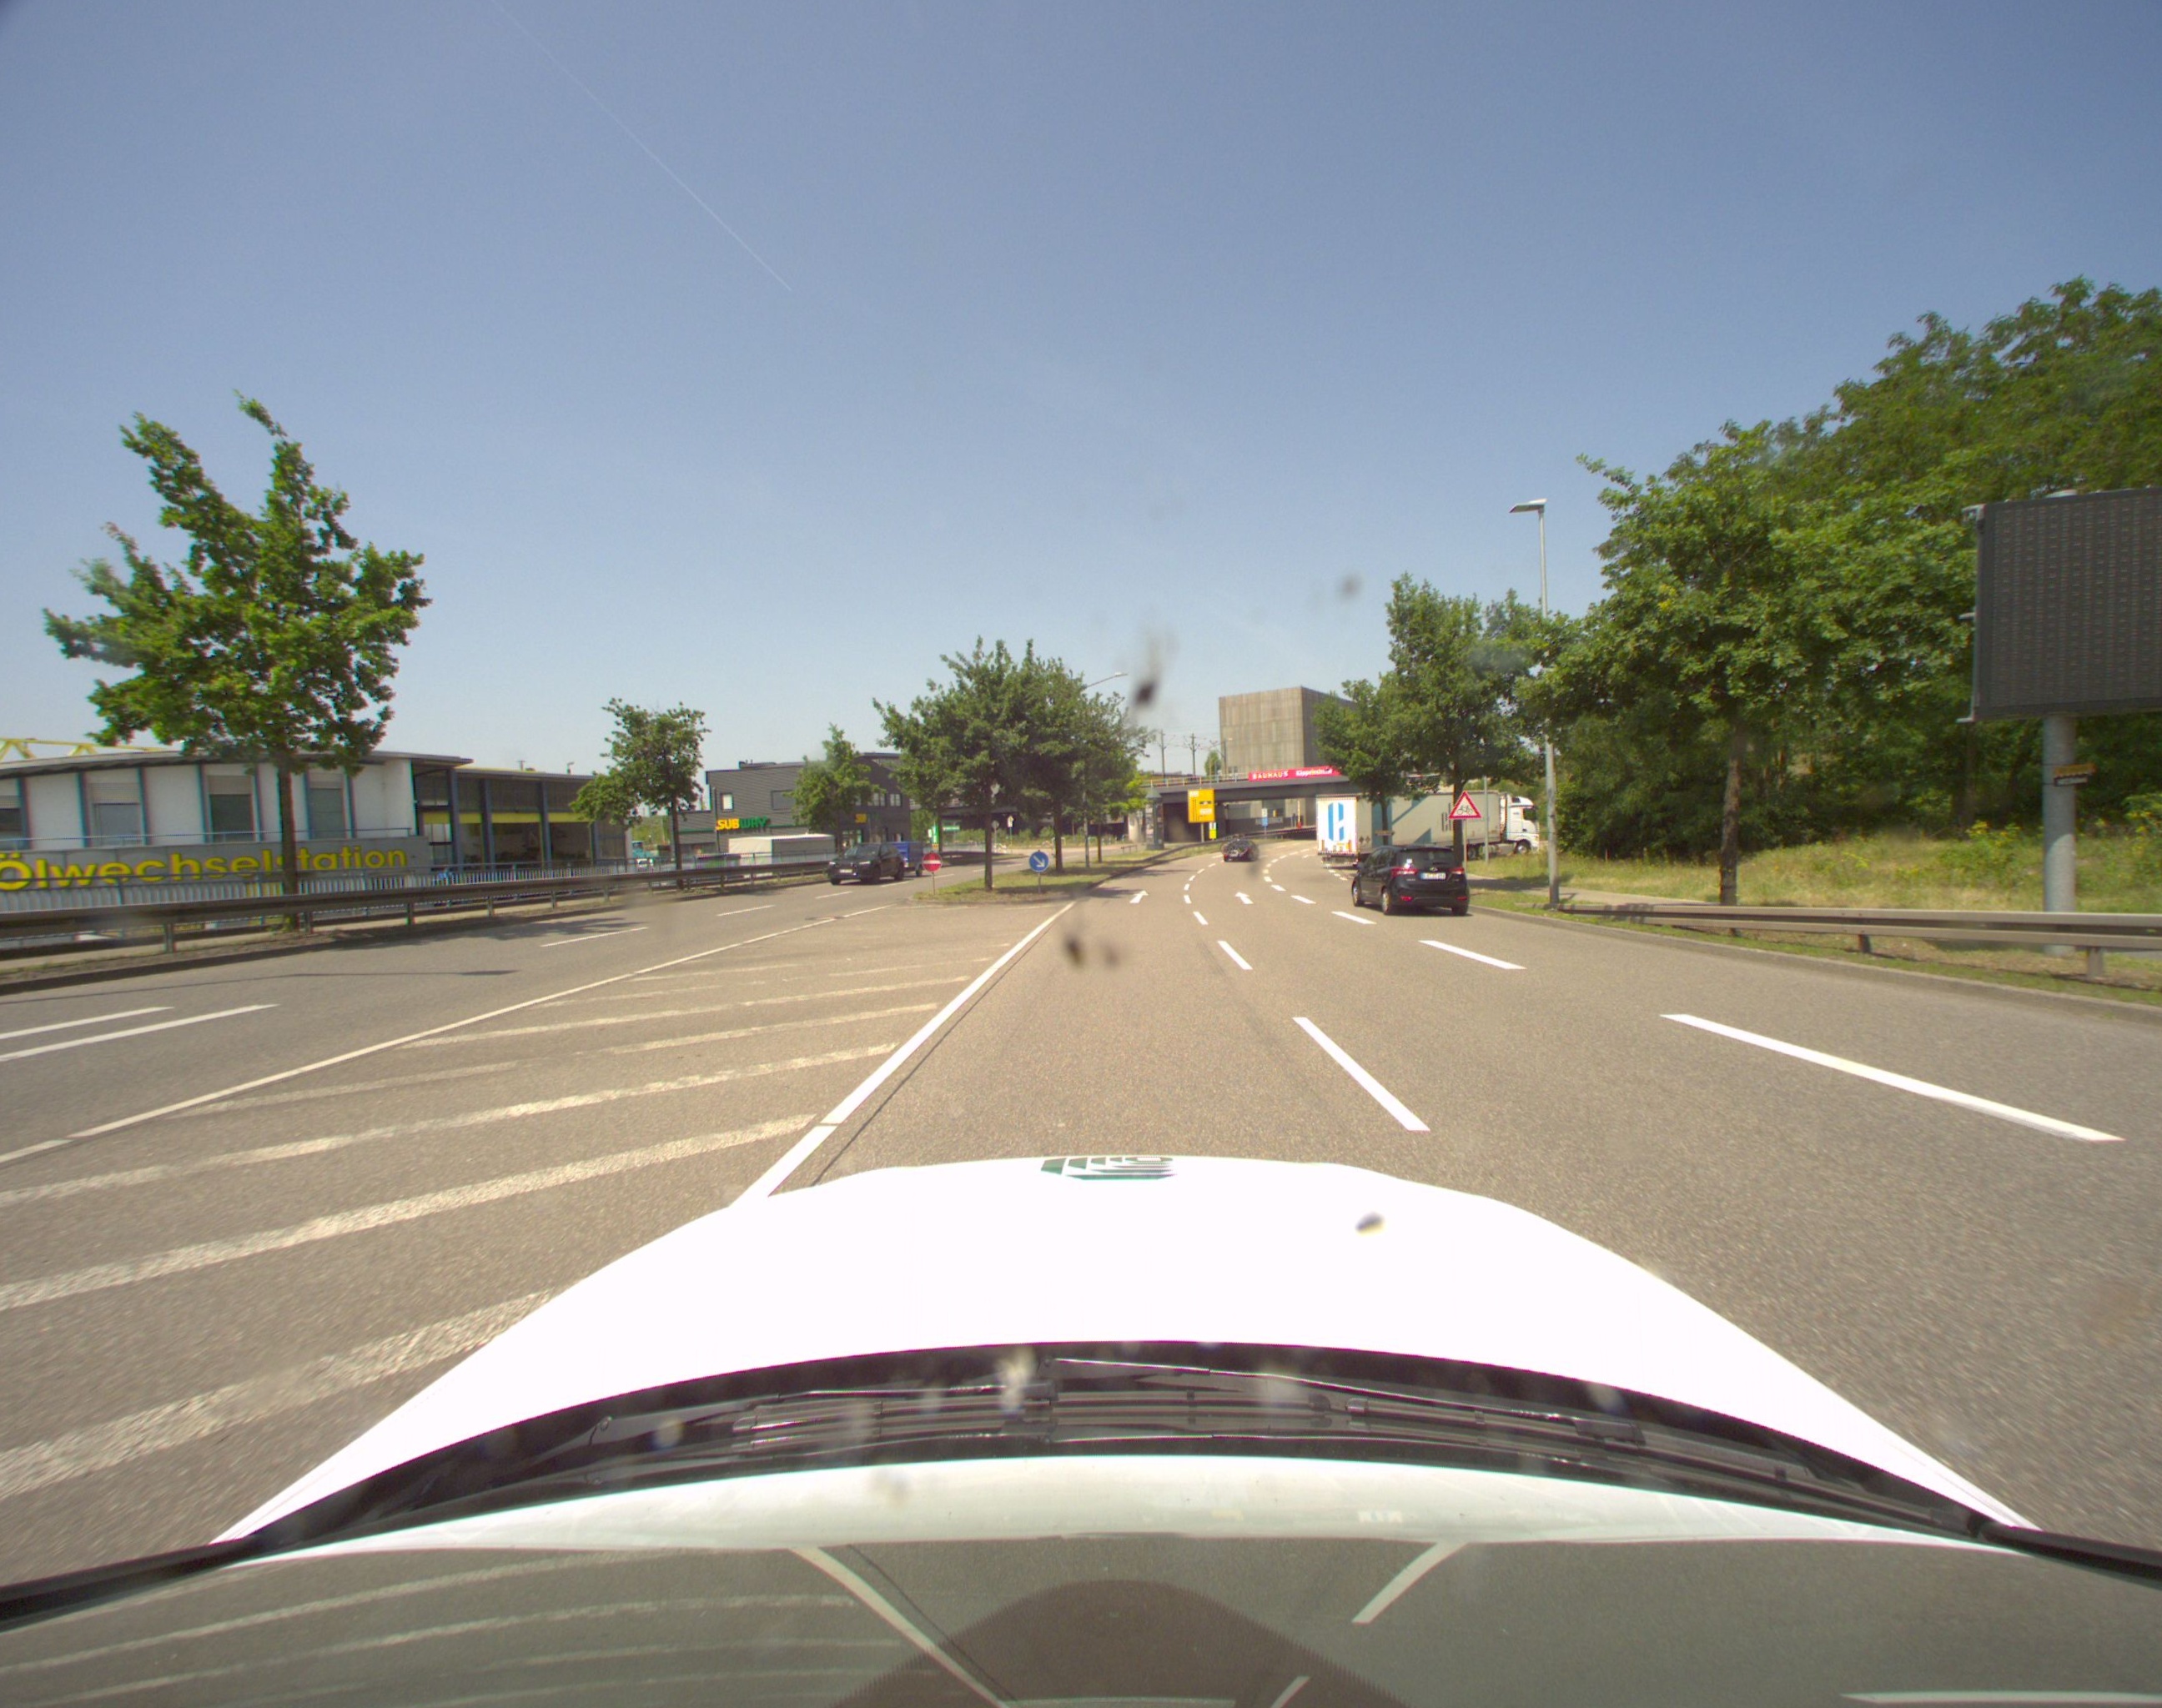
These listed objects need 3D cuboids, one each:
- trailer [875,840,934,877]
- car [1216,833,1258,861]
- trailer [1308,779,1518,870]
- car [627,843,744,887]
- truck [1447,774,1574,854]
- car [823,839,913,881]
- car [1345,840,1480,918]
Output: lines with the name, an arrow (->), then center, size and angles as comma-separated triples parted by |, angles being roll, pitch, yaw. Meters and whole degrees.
trailer -> -8.097, 0.166, 37.549 | 1.495, 1.615, 3.318 | 0, 1, 10
car -> 10.069, -0.485, 52.323 | 1.940, 1.633, 4.303 | -1, 2, 20
trailer -> 19.069, -1.823, 45.880 | 14.836, 4.368, 3.055 | -4, 1, -34
car -> -16.312, 0.397, 33.896 | 1.885, 1.569, 4.654 | -4, 1, 11
truck -> 26.037, -2.405, 49.465 | 6.064, 4.368, 3.073 | -4, 0, -12
car -> -8.695, 0.209, 33.726 | 1.902, 1.652, 4.420 | 0, 1, 10
car -> 7.675, 0.509, 19.291 | 1.759, 1.599, 4.082 | -2, 0, 4
